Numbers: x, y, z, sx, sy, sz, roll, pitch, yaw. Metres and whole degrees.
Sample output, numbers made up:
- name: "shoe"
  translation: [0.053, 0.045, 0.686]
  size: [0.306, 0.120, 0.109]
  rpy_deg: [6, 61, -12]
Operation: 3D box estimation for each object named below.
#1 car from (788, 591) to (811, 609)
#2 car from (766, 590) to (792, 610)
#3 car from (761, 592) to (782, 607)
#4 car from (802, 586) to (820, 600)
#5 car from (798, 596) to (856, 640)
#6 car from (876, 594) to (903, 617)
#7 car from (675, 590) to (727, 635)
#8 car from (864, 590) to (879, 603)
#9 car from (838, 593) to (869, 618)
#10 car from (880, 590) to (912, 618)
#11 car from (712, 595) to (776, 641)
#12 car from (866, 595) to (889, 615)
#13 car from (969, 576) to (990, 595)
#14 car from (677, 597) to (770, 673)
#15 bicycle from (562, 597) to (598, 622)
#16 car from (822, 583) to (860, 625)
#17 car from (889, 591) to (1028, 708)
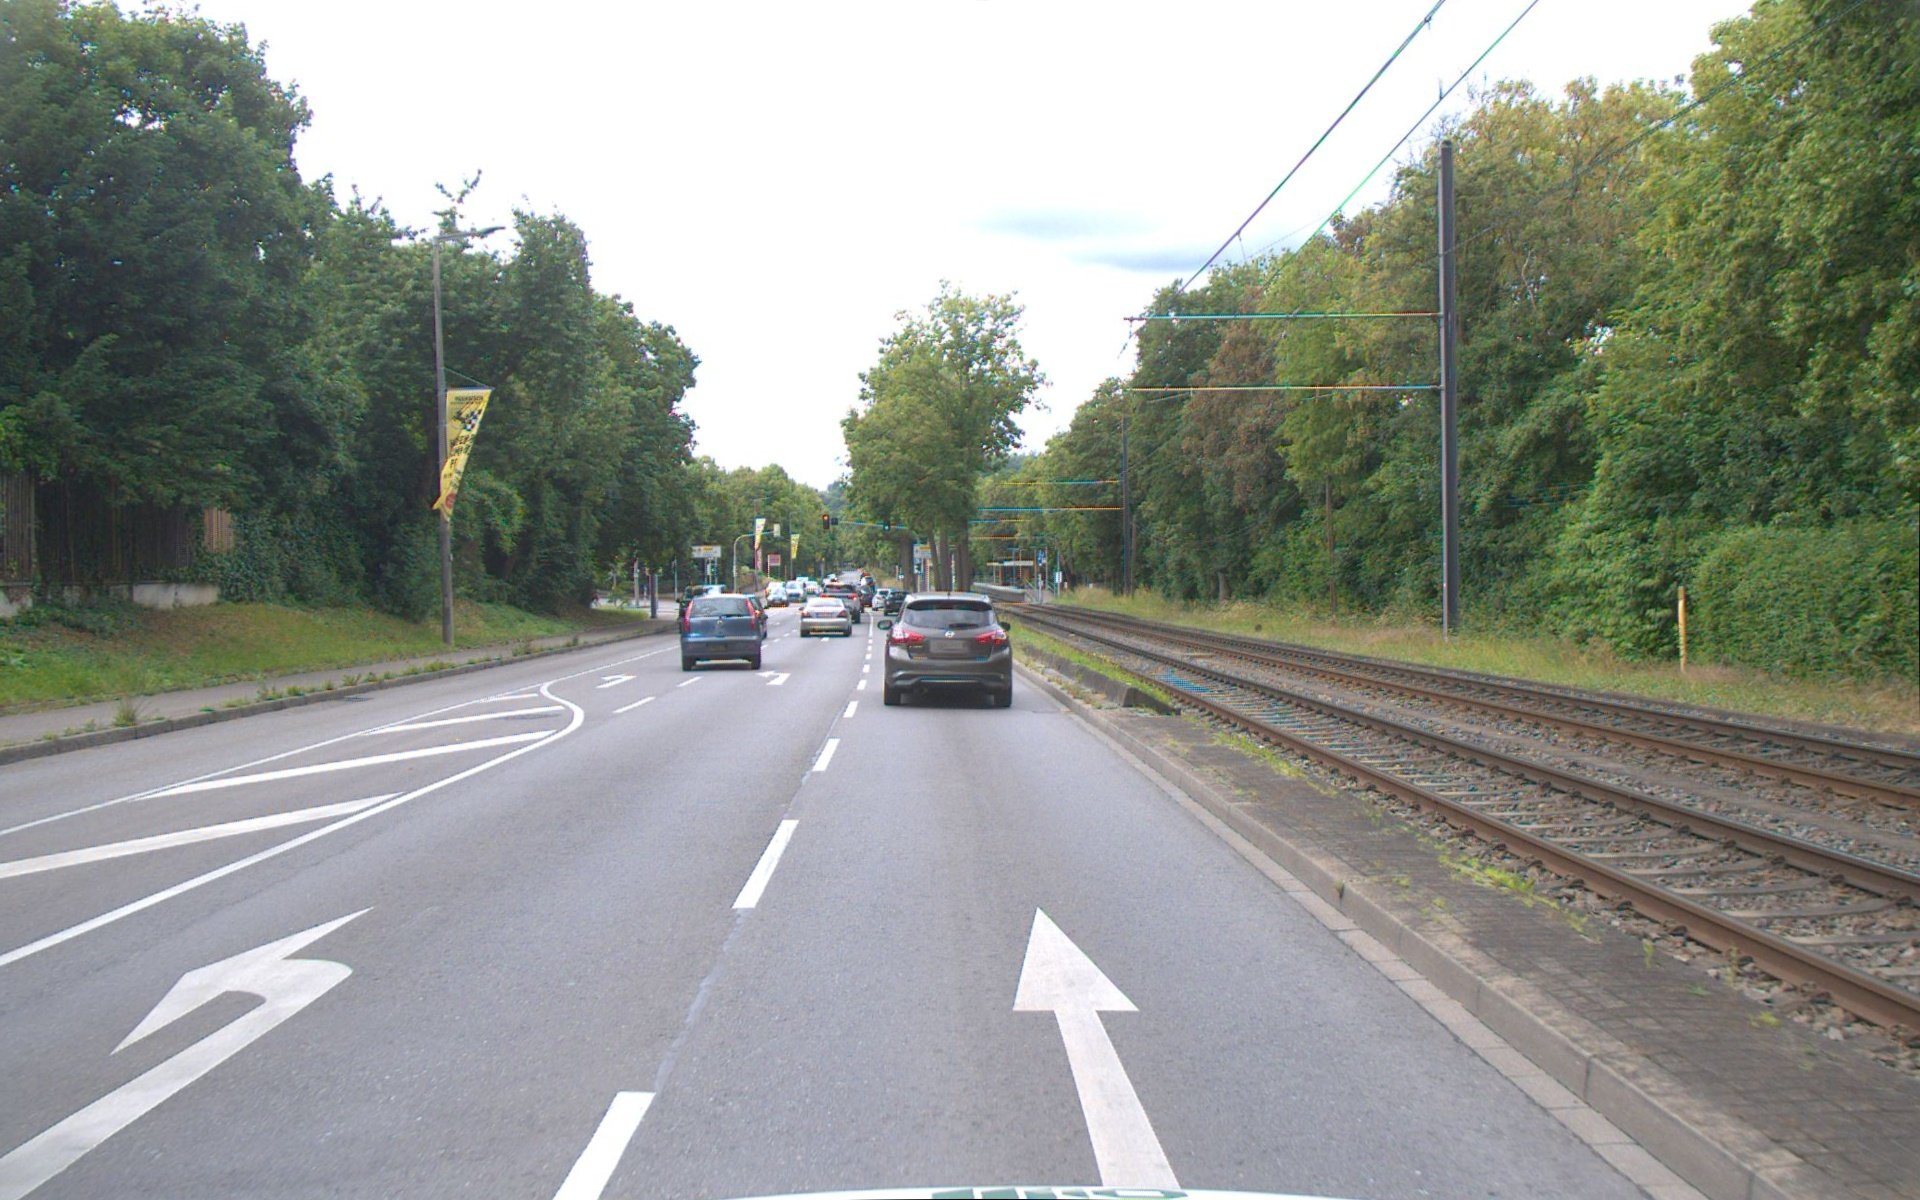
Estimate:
- name: "car"
  translation: [-14.691, 0.012, 151.483]
  size: [1.680, 1.577, 4.000]
  rpy_deg: [0, 0, 0]
- name: "car"
  translation: [-14.493, -0.020, 132.484]
  size: [1.680, 1.577, 4.000]
  rpy_deg: [0, 0, 0]
- name: "car"
  translation: [-19.221, -0.029, 168.989]
  size: [1.680, 1.577, 4.000]
  rpy_deg: [0, 0, 0]
- name: "car"
  translation: [-16.435, -0.756, 182.455]
  size: [1.680, 1.577, 4.000]
  rpy_deg: [0, 0, 0]
- name: "car"
  translation: [-4.536, 0.599, 56.962]
  size: [1.680, 1.460, 4.000]
  rpy_deg: [0, 0, 0]
- name: "car"
  translation: [-4.759, 0.373, 111.902]
  size: [1.680, 1.577, 4.000]
  rpy_deg: [0, 0, 0]
- name: "car"
  translation: [-10.751, 0.510, 68.849]
  size: [1.681, 1.791, 3.998]
  rpy_deg: [0, 0, -2]
- name: "car"
  translation: [-11.217, -0.454, 209.544]
  size: [1.680, 1.577, 4.000]
  rpy_deg: [0, 0, 0]
- name: "car"
  translation: [-6.698, 0.334, 104.528]
  size: [1.758, 1.537, 3.999]
  rpy_deg: [0, 0, -1]
- name: "car"
  translation: [-3.667, 0.215, 94.637]
  size: [1.680, 1.577, 4.000]
  rpy_deg: [0, 0, 0]
- name: "car"
  translation: [-7.017, 0.578, 54.009]
  size: [1.681, 1.460, 3.998]
  rpy_deg: [0, 0, -2]
- name: "car"
  translation: [-6.606, 0.379, 133.062]
  size: [1.680, 1.577, 4.000]
  rpy_deg: [0, 0, 0]
- name: "car"
  translation: [1.762, -1.329, 150.612]
  size: [1.681, 1.692, 3.706]
  rpy_deg: [0, 0, -2]
- name: "car"
  translation: [-4.810, 0.675, 34.088]
  size: [1.666, 1.469, 3.996]
  rpy_deg: [0, 0, -5]
- name: "bicycle"
  translation: [-17.371, 0.446, 75.638]
  size: [0.489, 1.127, 1.796]
  rpy_deg: [0, 0, 30]
- name: "car"
  translation: [-5.542, 0.202, 77.336]
  size: [1.681, 1.896, 3.998]
  rpy_deg: [0, 0, -3]
- name: "car"
  translation: [-0.015, 0.656, 23.576]
  size: [1.813, 1.519, 4.000]
  rpy_deg: [0, 0, 0]
